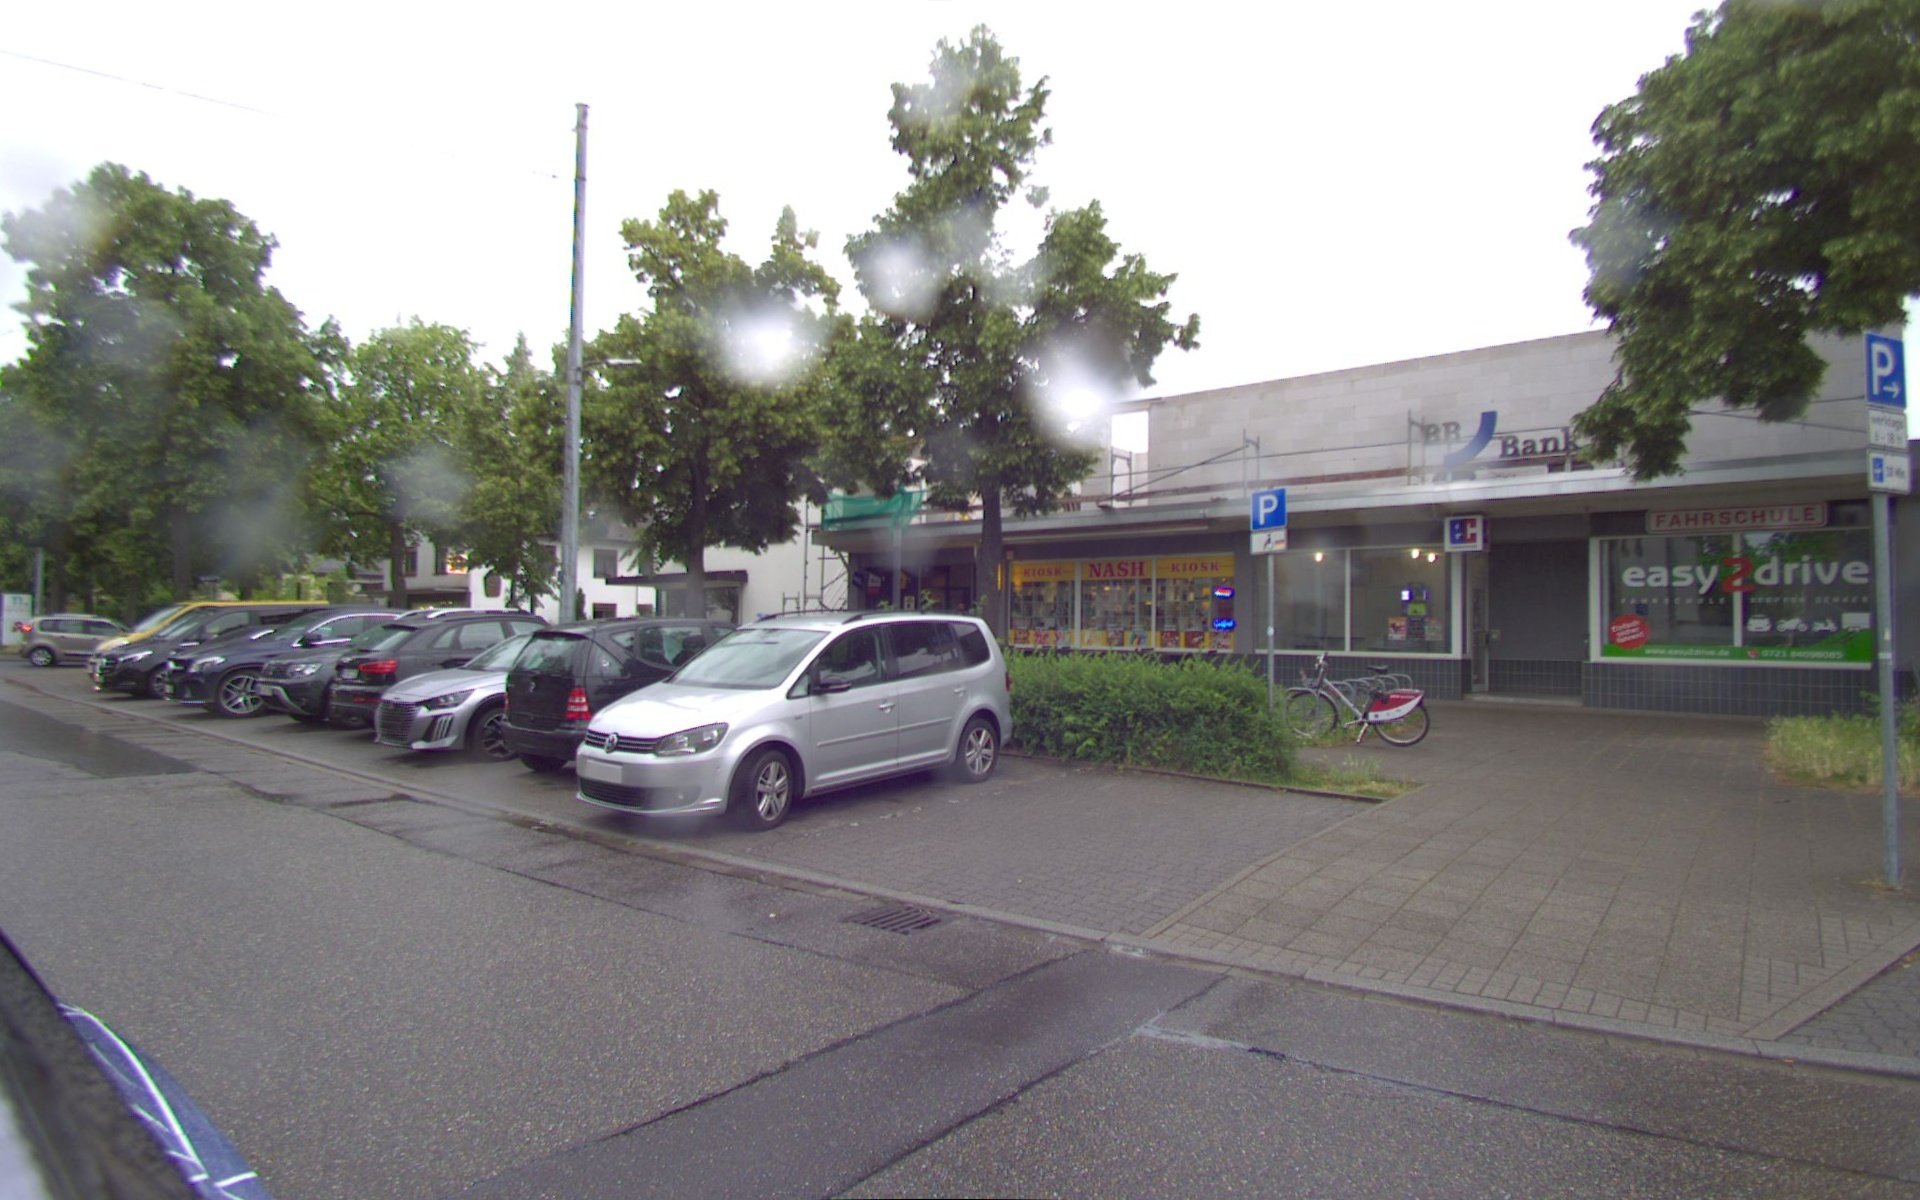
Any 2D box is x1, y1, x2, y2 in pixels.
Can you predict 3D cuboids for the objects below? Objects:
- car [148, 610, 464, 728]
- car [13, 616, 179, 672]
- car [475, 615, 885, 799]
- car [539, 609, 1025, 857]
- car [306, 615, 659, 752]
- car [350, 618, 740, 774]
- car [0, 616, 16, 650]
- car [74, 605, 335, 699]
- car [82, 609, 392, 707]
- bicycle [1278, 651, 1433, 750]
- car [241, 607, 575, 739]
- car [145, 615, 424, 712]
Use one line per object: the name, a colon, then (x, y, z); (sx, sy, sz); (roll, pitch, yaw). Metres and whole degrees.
car: (-10.989, 1.049, 17.283); (1.713, 1.740, 4.231); (-1, -1, 38)
car: (-28.362, 1.402, 33.404); (3.932, 1.700, 1.846); (0, -1, -32)
car: (-2.848, 0.977, 11.149); (1.633, 1.577, 4.231); (-1, 0, 38)
car: (-1.314, 0.913, 9.007); (1.713, 1.647, 4.231); (-1, -1, 38)
car: (-6.570, 1.034, 14.353); (1.713, 1.607, 4.231); (-1, -1, 38)
car: (-4.955, 1.029, 12.609); (1.713, 1.544, 4.231); (-1, -1, 38)
car: (-49.717, 1.686, 50.221); (1.997, 1.698, 3.950); (-1, 0, 37)
car: (-17.438, 1.103, 23.571); (1.713, 1.973, 4.600); (-1, -1, 38)
car: (-15.151, 1.114, 21.519); (1.713, 1.813, 5.114); (-1, -1, 38)
bicycle: (4.804, 1.200, 12.343); (1.739, 1.115, 0.316); (-1, 0, 25)
car: (-8.344, 0.988, 15.644); (1.713, 1.740, 4.231); (-1, -1, 38)
car: (-13.014, 1.136, 19.740); (1.713, 1.639, 4.231); (-1, -1, 38)
